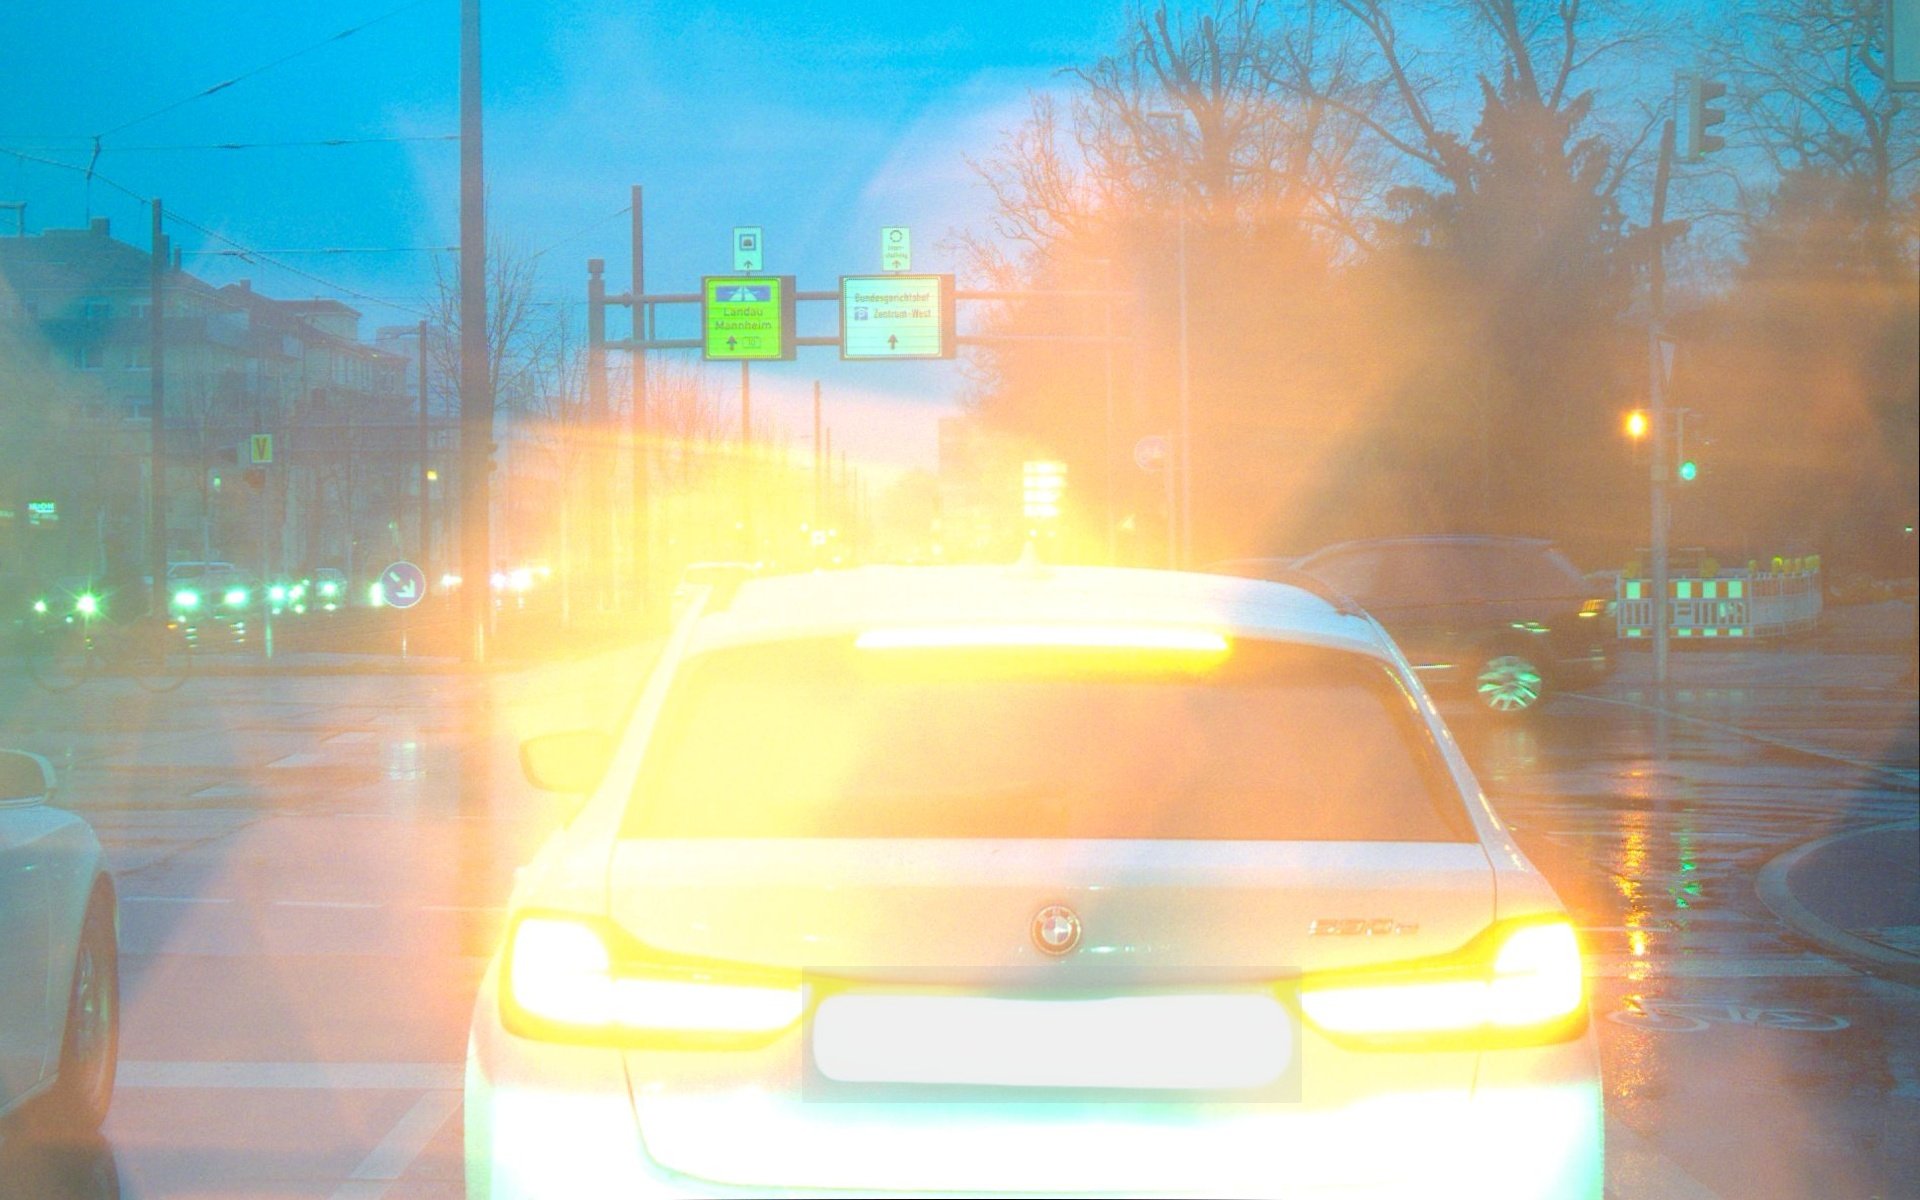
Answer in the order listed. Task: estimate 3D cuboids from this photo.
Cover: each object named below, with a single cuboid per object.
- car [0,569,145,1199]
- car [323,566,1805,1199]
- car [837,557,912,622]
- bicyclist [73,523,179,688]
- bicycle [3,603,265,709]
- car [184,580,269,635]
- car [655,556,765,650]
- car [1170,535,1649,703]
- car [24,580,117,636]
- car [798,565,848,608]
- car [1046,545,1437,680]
[{"bbox_3d":[-3.095,0.678,7.031,1.993,1.451,4.369,0,1,-2],"label":"car"},{"bbox_3d":[0.051,0.681,6.813,1.993,1.451,4.369,0,1,-2],"label":"car"},{"bbox_3d":[-2.196,-0.267,88.358,1.843,1.603,3.945,1,0,-2],"label":"car"},{"bbox_3d":[-9.070,0.056,37.411,0.972,1.753,0.813,1,0,-5],"label":"bicyclist"},{"bbox_3d":[-8.972,0.608,37.423,2.666,1.085,0.815,1,0,-5],"label":"bicycle"},{"bbox_3d":[-21.015,0.204,98.601,1.675,1.502,3.696,1,0,-1],"label":"car"},{"bbox_3d":[-4.408,0.046,60.209,1.743,1.548,3.969,1,0,-6],"label":"car"},{"bbox_3d":[4.047,0.154,30.695,4.095,1.436,1.839,0,0,13],"label":"car"},{"bbox_3d":[-24.810,0.227,95.996,1.675,1.502,3.696,1,0,-1],"label":"car"},{"bbox_3d":[-5.271,-0.513,132.747,1.843,1.603,3.945,1,0,-2],"label":"car"},{"bbox_3d":[3.128,0.124,38.437,3.995,1.397,1.754,1,0,35],"label":"car"}]
